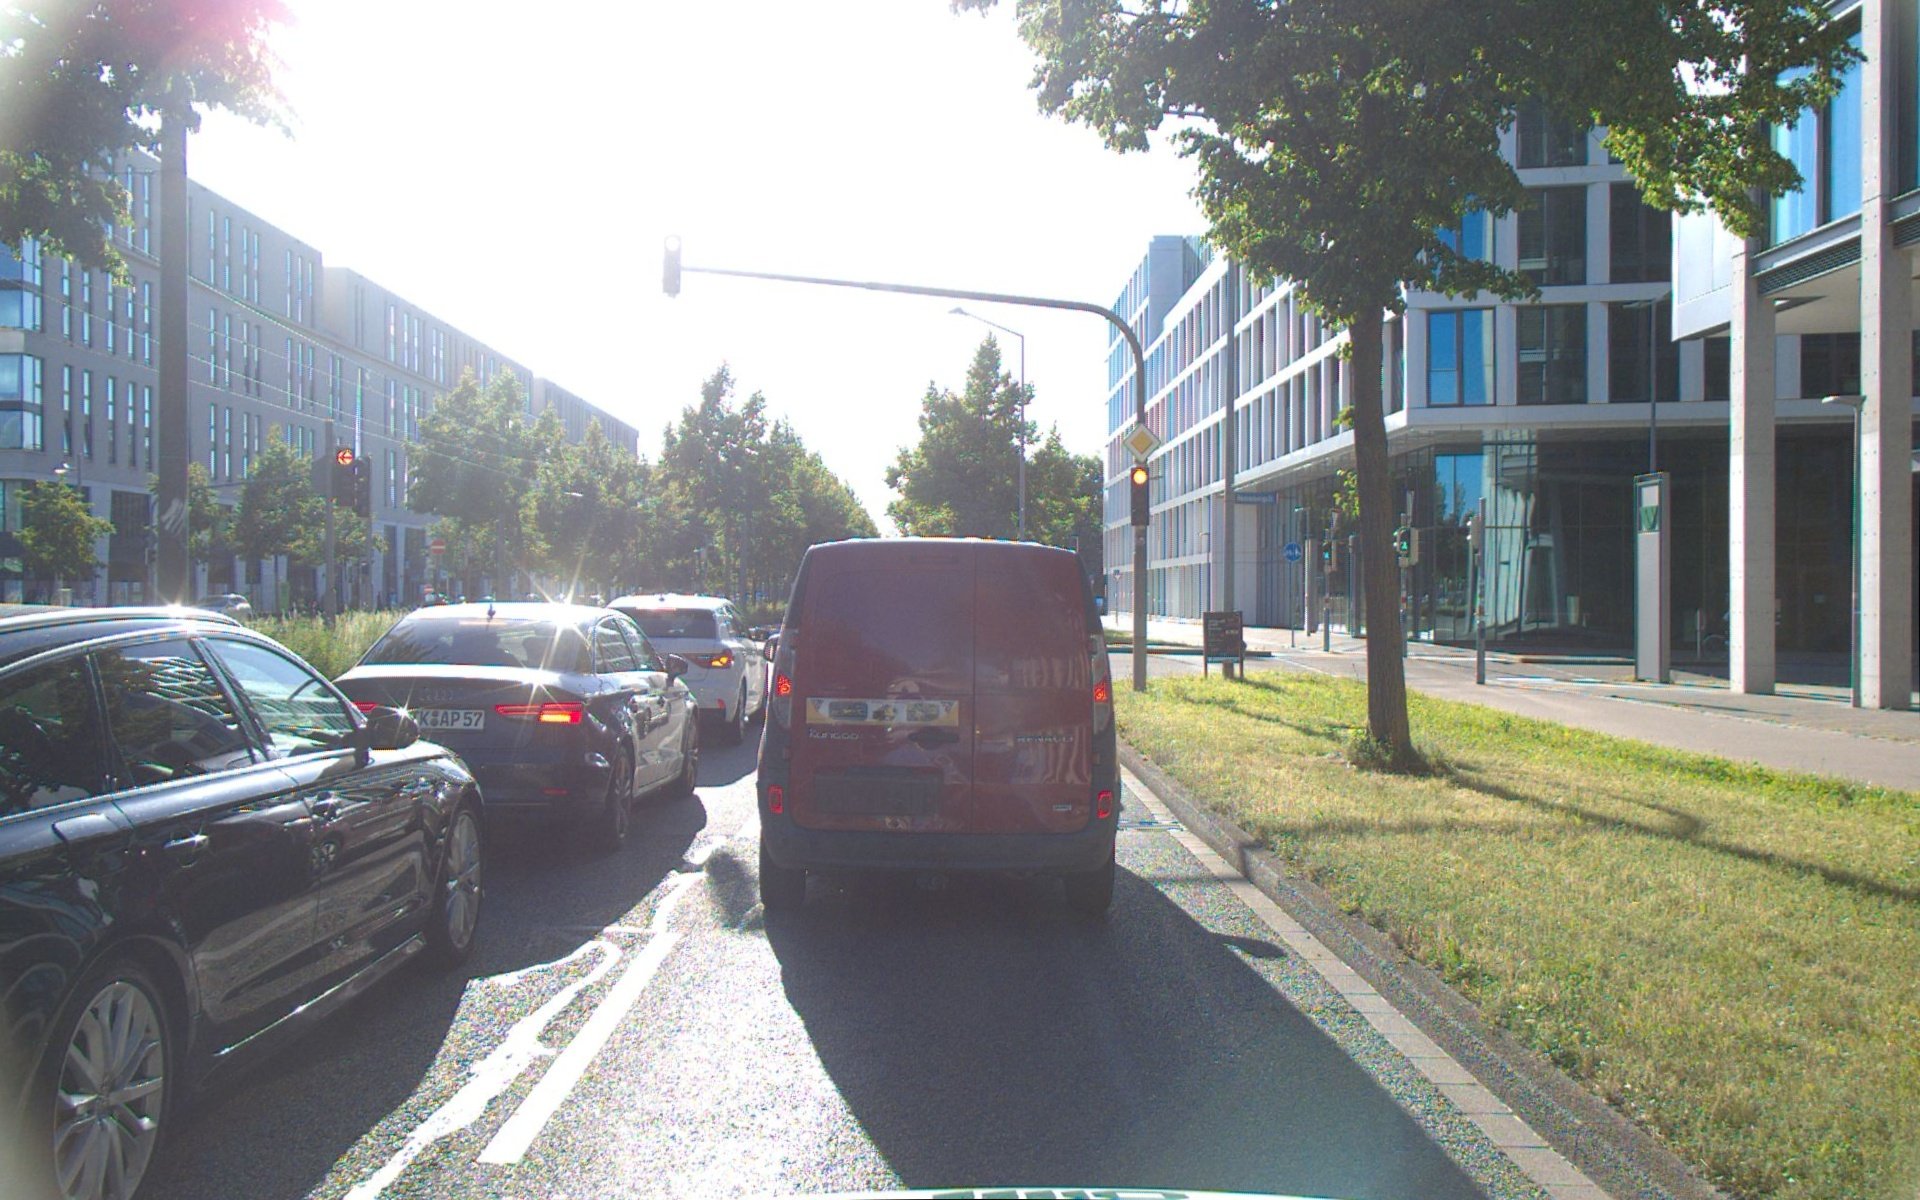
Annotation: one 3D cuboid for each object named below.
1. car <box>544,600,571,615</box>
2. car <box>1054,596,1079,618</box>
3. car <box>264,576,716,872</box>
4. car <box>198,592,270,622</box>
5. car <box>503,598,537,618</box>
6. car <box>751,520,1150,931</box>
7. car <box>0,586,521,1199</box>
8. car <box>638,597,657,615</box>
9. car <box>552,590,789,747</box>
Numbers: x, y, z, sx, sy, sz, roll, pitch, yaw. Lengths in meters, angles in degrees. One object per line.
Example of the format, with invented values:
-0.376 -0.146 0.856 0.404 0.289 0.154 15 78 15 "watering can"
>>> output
-36.161 0.647 148.660 1.548 1.366 3.711 0 0 -1 "car"
8.208 0.524 127.985 1.722 1.640 3.903 0 0 0 "car"
-2.775 0.644 10.765 1.771 1.554 4.113 0 0 0 "car"
-34.531 0.332 78.802 1.548 1.366 4.470 0 0 -1 "car"
-35.294 0.643 132.788 1.740 1.555 3.805 0 0 -1 "car"
-0.044 0.551 9.416 1.771 1.825 4.113 0 0 0 "car"
-2.736 0.704 4.845 1.771 1.482 4.507 0 0 -1 "car"
-36.959 0.737 195.843 1.694 2.049 3.998 0 0 -3 "car"
-2.909 0.626 17.452 1.771 1.460 4.113 0 0 0 "car"
